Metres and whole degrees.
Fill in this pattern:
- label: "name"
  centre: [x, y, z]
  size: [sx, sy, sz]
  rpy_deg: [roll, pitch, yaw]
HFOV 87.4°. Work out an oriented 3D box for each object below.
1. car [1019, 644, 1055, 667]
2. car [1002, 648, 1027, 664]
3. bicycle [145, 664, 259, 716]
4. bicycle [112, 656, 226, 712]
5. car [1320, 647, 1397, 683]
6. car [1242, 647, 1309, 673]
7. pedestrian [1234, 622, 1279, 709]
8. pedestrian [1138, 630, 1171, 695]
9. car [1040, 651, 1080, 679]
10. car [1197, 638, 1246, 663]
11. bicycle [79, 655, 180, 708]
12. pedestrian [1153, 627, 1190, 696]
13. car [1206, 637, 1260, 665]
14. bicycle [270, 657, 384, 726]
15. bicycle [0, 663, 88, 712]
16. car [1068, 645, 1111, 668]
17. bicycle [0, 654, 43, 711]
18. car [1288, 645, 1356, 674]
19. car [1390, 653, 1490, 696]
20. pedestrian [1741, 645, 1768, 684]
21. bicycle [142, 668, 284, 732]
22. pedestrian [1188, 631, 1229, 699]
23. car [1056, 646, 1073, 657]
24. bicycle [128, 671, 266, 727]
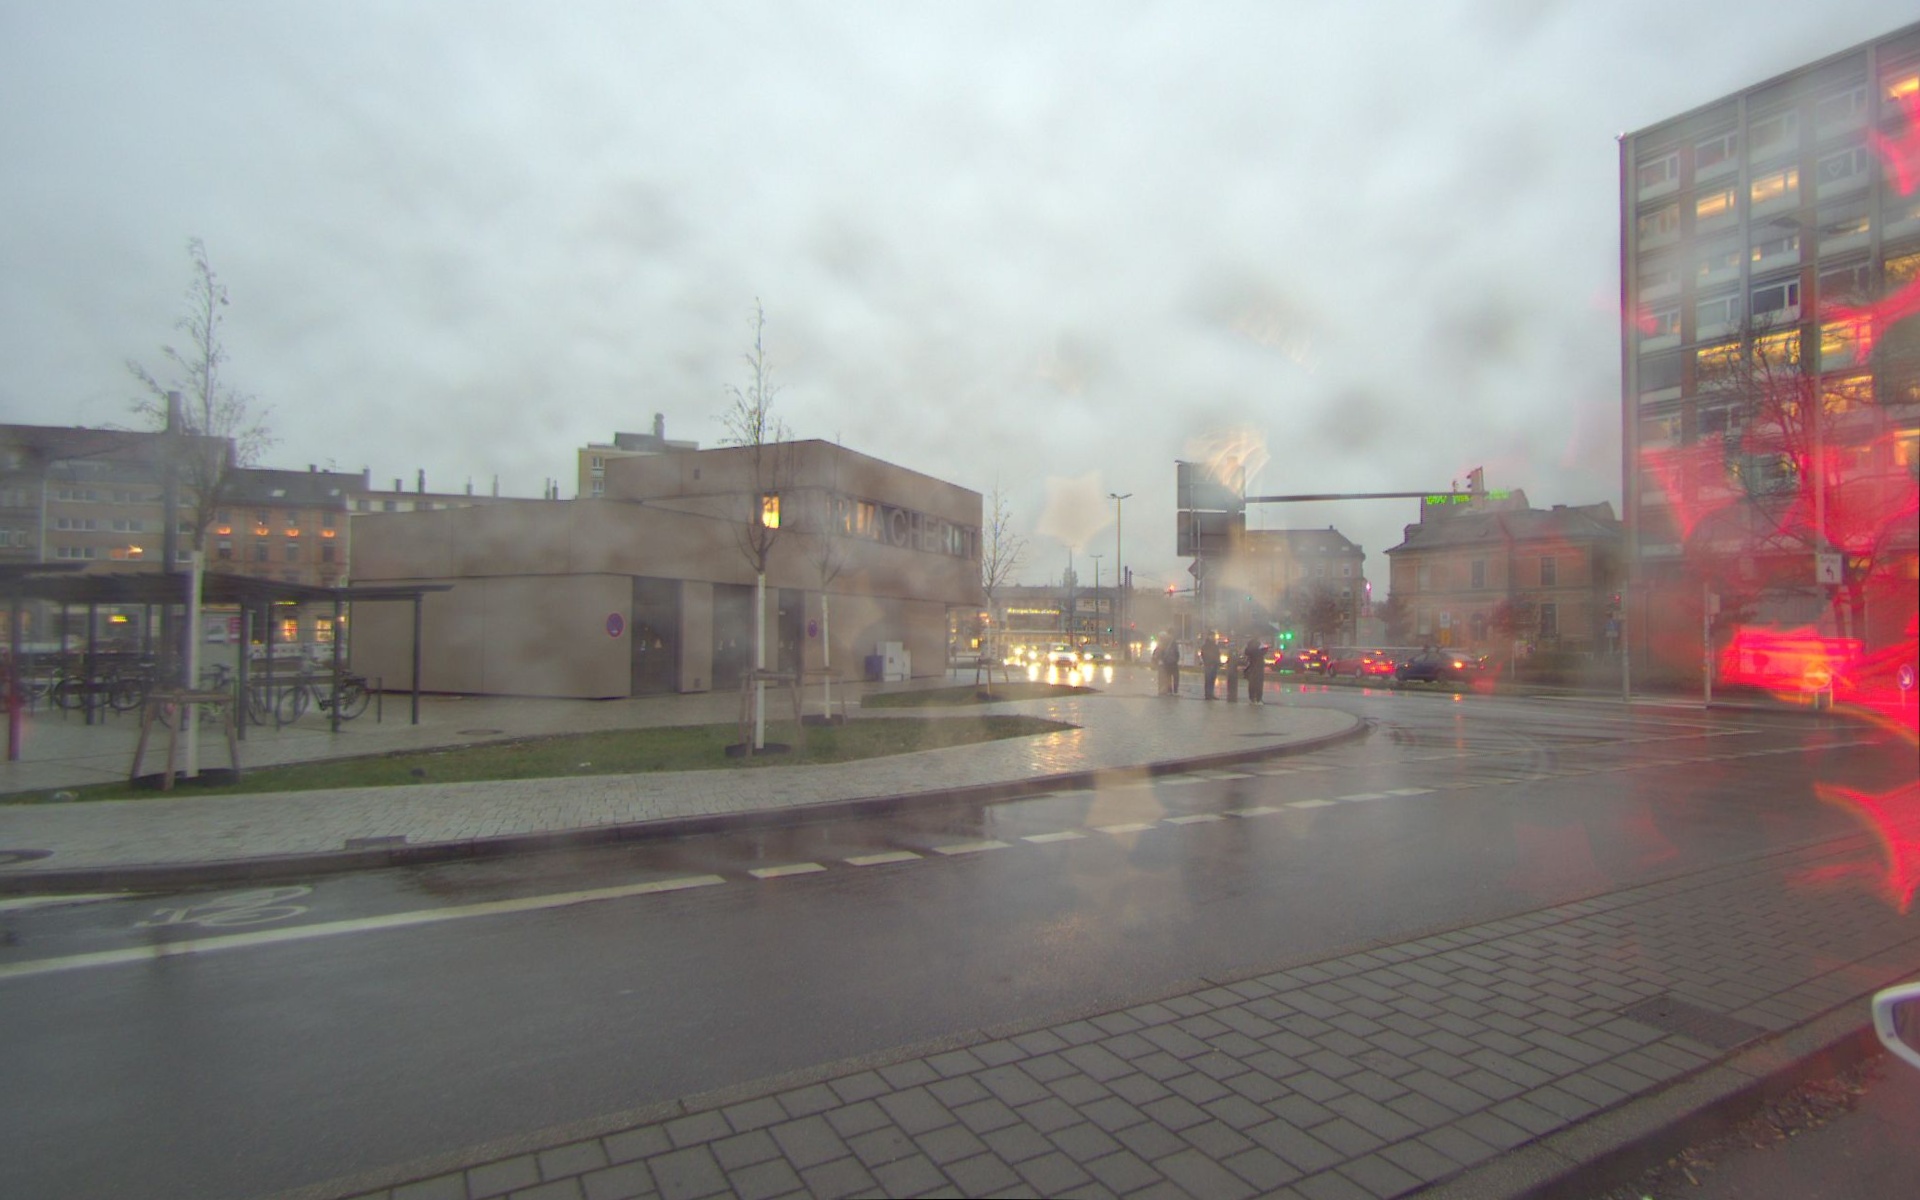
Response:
- label: "car"
  centre: [5.395, 3.912, 71.065]
  size: [1.901, 1.572, 4.698]
  rpy_deg: [1, -3, -3]
- label: "car"
  centre: [5.291, 5.431, 98.019]
  size: [1.777, 1.496, 4.590]
  rpy_deg: [1, -3, -6]
- label: "bicycle"
  centre: [-15.182, 1.782, 20.176]
  size: [0.466, 0.968, 1.767]
  rpy_deg: [1, -2, 29]
- label: "bicycle"
  centre: [-16.532, 1.739, 21.041]
  size: [0.466, 1.087, 1.830]
  rpy_deg: [1, -2, 26]
- label: "car"
  centre: [20.495, 3.313, 51.818]
  size: [1.795, 1.589, 3.991]
  rpy_deg: [2, 0, -11]
- label: "car"
  centre: [20.088, 3.808, 63.979]
  size: [3.741, 1.502, 1.602]
  rpy_deg: [2, 0, -1]
- label: "pedestrian"
  centre: [7.198, 1.581, 24.385]
  size: [0.971, 2.047, 0.802]
  rpy_deg: [-1, -2, 19]
- label: "pedestrian"
  centre: [5.457, 1.743, 28.198]
  size: [0.544, 1.793, 0.734]
  rpy_deg: [1, -3, -43]
- label: "car"
  centre: [5.812, 3.768, 58.588]
  size: [1.712, 1.467, 3.712]
  rpy_deg: [0, -2, -4]
- label: "car"
  centre: [19.390, 3.723, 74.499]
  size: [3.321, 1.724, 1.526]
  rpy_deg: [2, 0, 8]
- label: "bicycle"
  centre: [-17.689, 1.714, 21.435]
  size: [0.511, 1.050, 1.573]
  rpy_deg: [1, -2, 19]
- label: "pedestrian"
  centre: [5.837, 1.687, 27.670]
  size: [0.671, 1.863, 0.726]
  rpy_deg: [1, -3, -42]
- label: "car"
  centre: [19.619, 3.657, 72.355]
  size: [3.514, 1.850, 1.672]
  rpy_deg: [2, 0, 8]
- label: "bicycle"
  centre: [-11.752, 1.679, 18.721]
  size: [0.605, 1.172, 1.755]
  rpy_deg: [1, -2, 20]
- label: "bicycle"
  centre: [-18.511, 1.736, 19.992]
  size: [0.466, 0.903, 1.693]
  rpy_deg: [1, -2, 24]
- label: "car"
  centre: [9.009, 3.923, 70.340]
  size: [1.778, 1.496, 4.587]
  rpy_deg: [1, -3, -8]
- label: "bicycle"
  centre: [-19.396, 1.636, 19.841]
  size: [0.466, 1.122, 1.797]
  rpy_deg: [1, -2, 29]
- label: "car"
  centre: [20.900, 3.410, 58.078]
  size: [3.364, 1.481, 1.515]
  rpy_deg: [2, 0, -1]
- label: "car"
  centre: [21.445, 3.308, 45.050]
  size: [1.797, 1.589, 3.985]
  rpy_deg: [2, 0, -17]
- label: "pedestrian"
  centre: [34.800, 2.822, 43.979]
  size: [0.626, 1.710, 0.640]
  rpy_deg: [0, -2, -13]
- label: "bicycle"
  centre: [-12.938, 1.706, 17.461]
  size: [0.466, 0.989, 1.923]
  rpy_deg: [1, -2, 29]
- label: "pedestrian"
  centre: [6.586, 1.708, 26.629]
  size: [0.838, 1.778, 0.659]
  rpy_deg: [0, -2, -14]
- label: "car"
  centre: [14.761, 7.298, 141.830]
  size: [1.704, 1.529, 4.002]
  rpy_deg: [-1, -2, 15]
- label: "bicycle"
  centre: [-13.588, 1.741, 17.953]
  size: [0.466, 0.903, 1.923]
  rpy_deg: [1, -2, 29]
